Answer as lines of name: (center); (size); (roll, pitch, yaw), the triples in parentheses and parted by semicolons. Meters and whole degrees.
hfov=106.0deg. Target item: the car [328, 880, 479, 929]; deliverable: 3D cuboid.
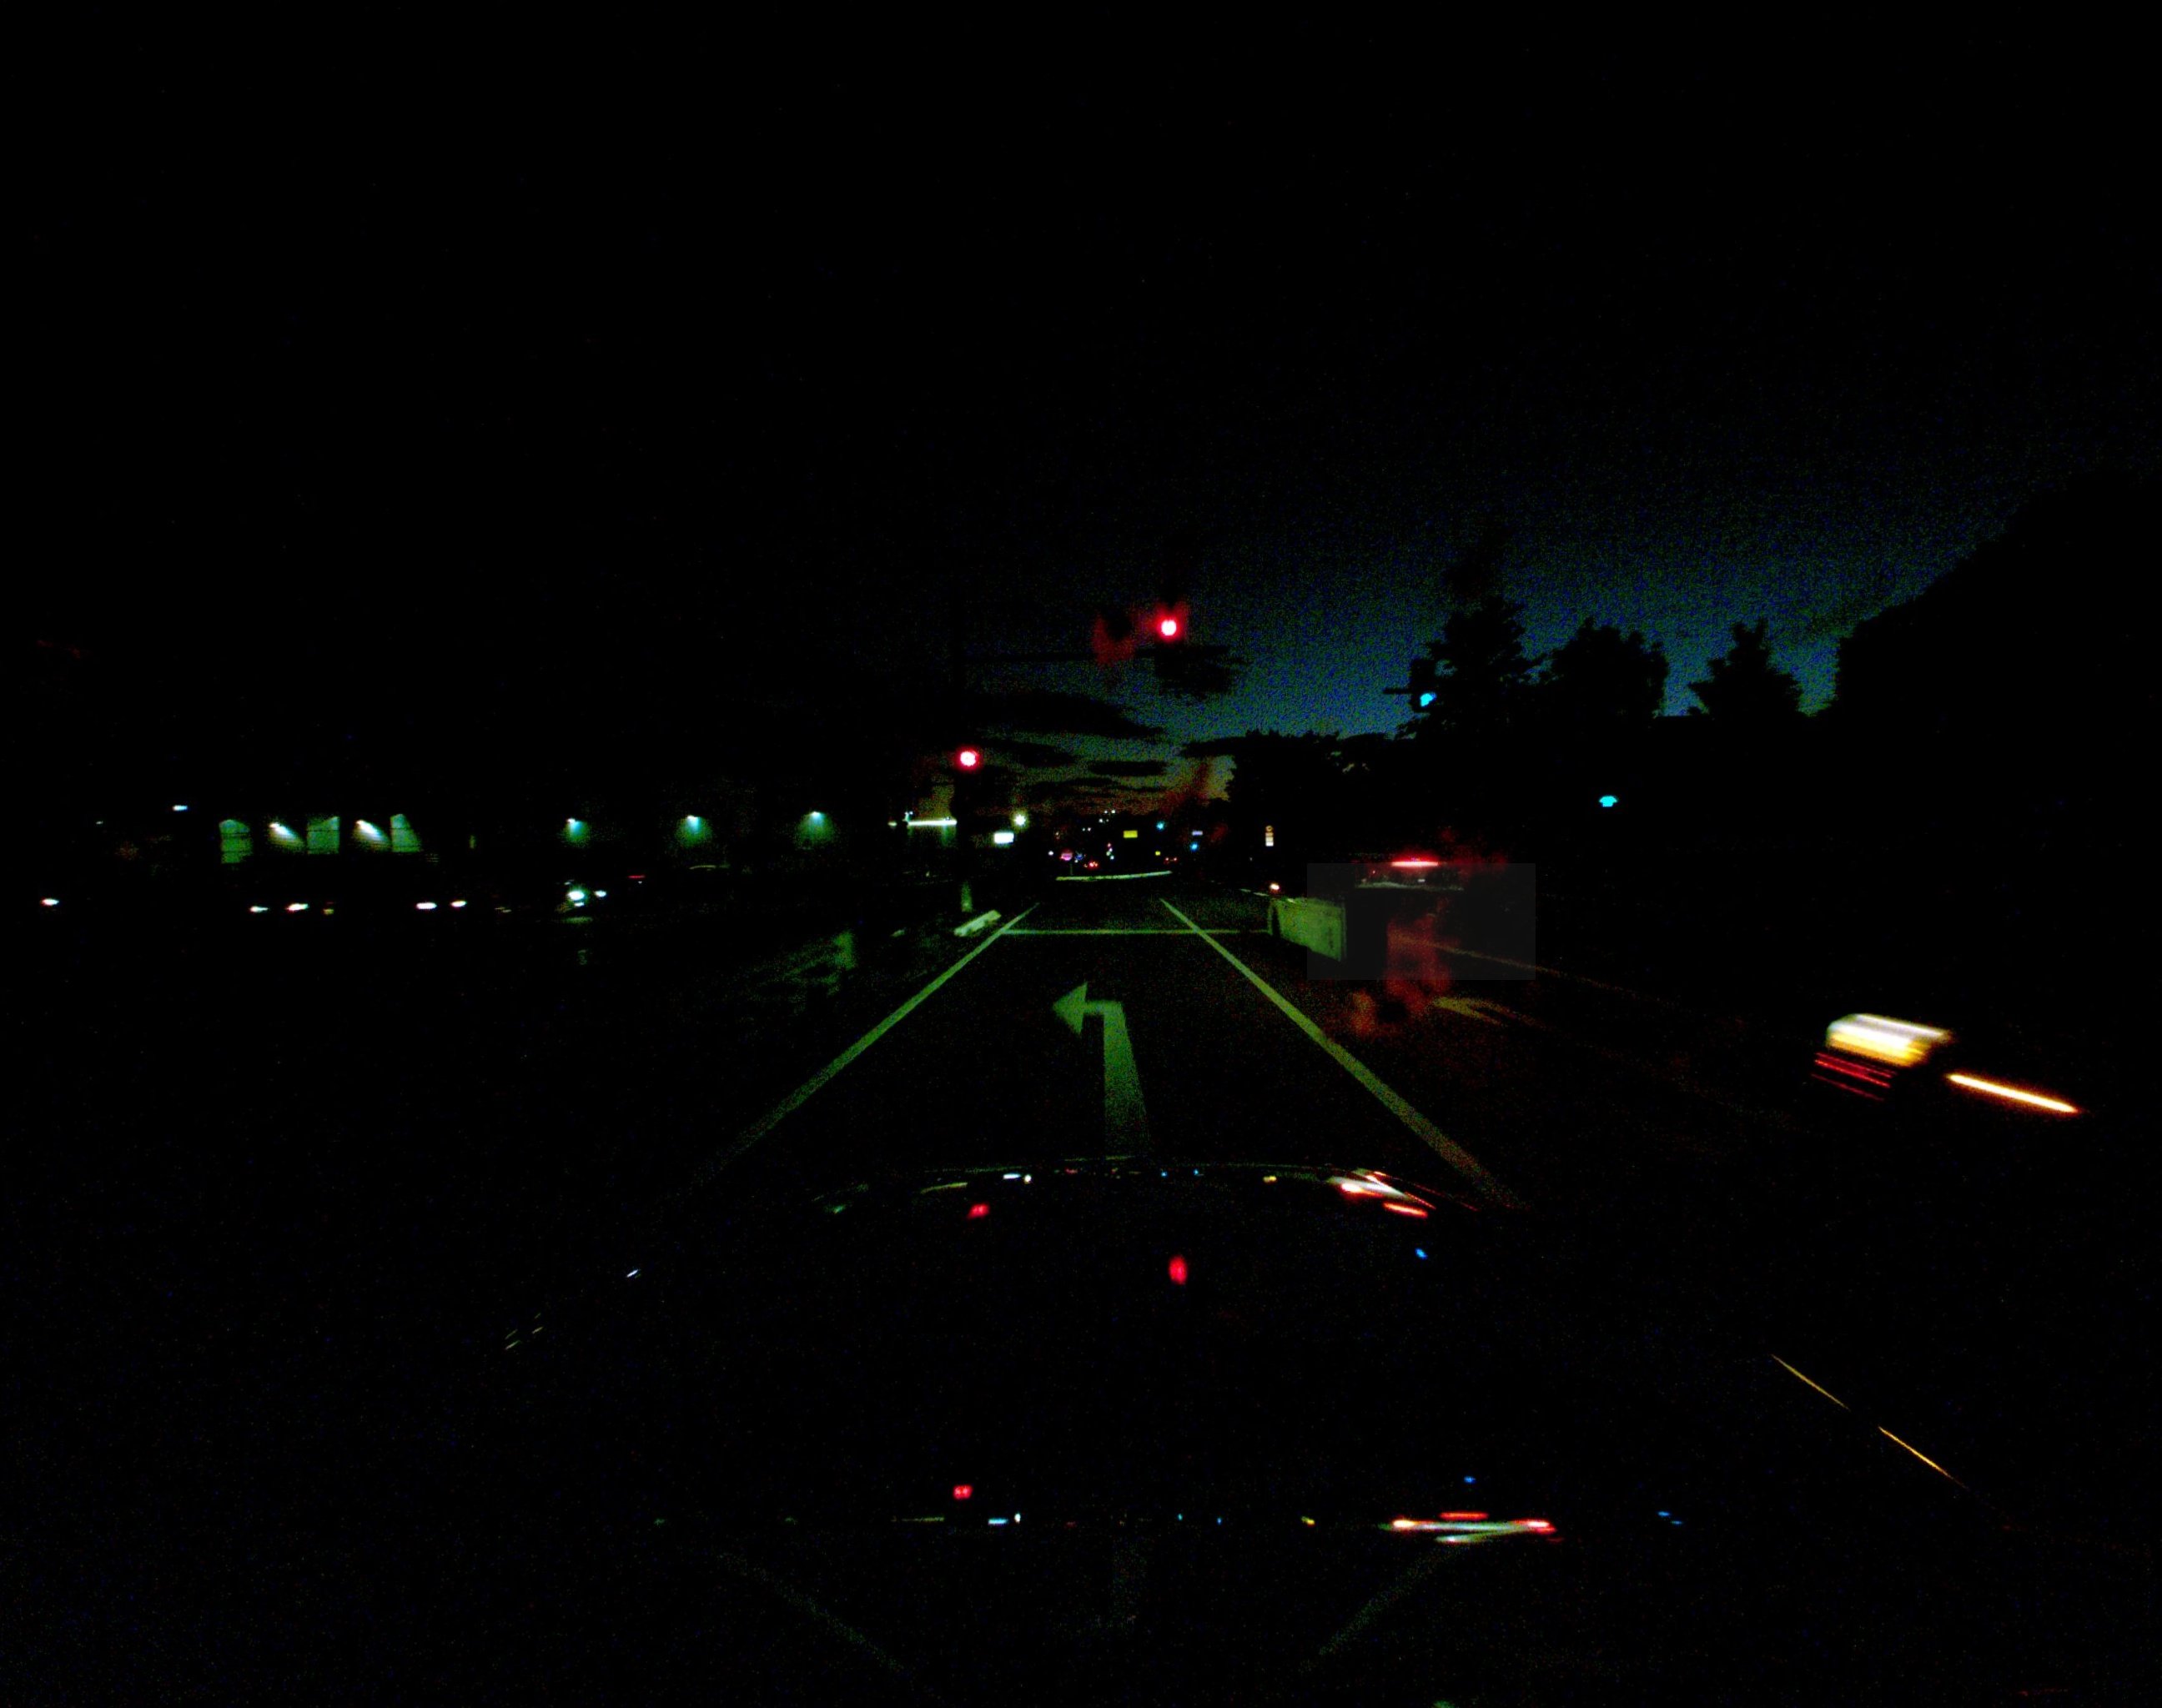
car: (-23.239, 1.720, 28.005); (3.964, 1.460, 1.764); (-2, -1, 8)

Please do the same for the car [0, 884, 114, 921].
car: (-44.706, 2.087, 35.127); (3.964, 1.398, 2.005); (-2, 0, 8)

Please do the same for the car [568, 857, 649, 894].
car: (-27.386, 1.207, 47.333); (4.010, 2.014, 1.982); (0, 0, -29)

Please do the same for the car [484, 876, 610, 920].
car: (-20.652, 1.693, 31.564); (3.837, 1.474, 1.708); (-3, -1, 7)

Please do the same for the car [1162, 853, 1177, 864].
car: (13.997, 0.687, 129.132); (1.928, 1.646, 4.001); (-2, 1, 1)

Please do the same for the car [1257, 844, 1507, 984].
car: (3.641, 0.612, 10.716); (1.752, 1.459, 4.192); (-1, 1, 0)

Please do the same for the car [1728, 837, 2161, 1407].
car: (3.579, 0.686, 1.757); (1.647, 1.450, 3.490); (-1, 1, 1)

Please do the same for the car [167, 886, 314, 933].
car: (-29.887, 1.977, 29.000); (3.778, 1.459, 1.693); (-1, 1, 9)

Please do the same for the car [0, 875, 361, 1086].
car: (-9.132, 1.067, 7.601); (1.540, 1.519, 3.517); (-4, 0, 1)
